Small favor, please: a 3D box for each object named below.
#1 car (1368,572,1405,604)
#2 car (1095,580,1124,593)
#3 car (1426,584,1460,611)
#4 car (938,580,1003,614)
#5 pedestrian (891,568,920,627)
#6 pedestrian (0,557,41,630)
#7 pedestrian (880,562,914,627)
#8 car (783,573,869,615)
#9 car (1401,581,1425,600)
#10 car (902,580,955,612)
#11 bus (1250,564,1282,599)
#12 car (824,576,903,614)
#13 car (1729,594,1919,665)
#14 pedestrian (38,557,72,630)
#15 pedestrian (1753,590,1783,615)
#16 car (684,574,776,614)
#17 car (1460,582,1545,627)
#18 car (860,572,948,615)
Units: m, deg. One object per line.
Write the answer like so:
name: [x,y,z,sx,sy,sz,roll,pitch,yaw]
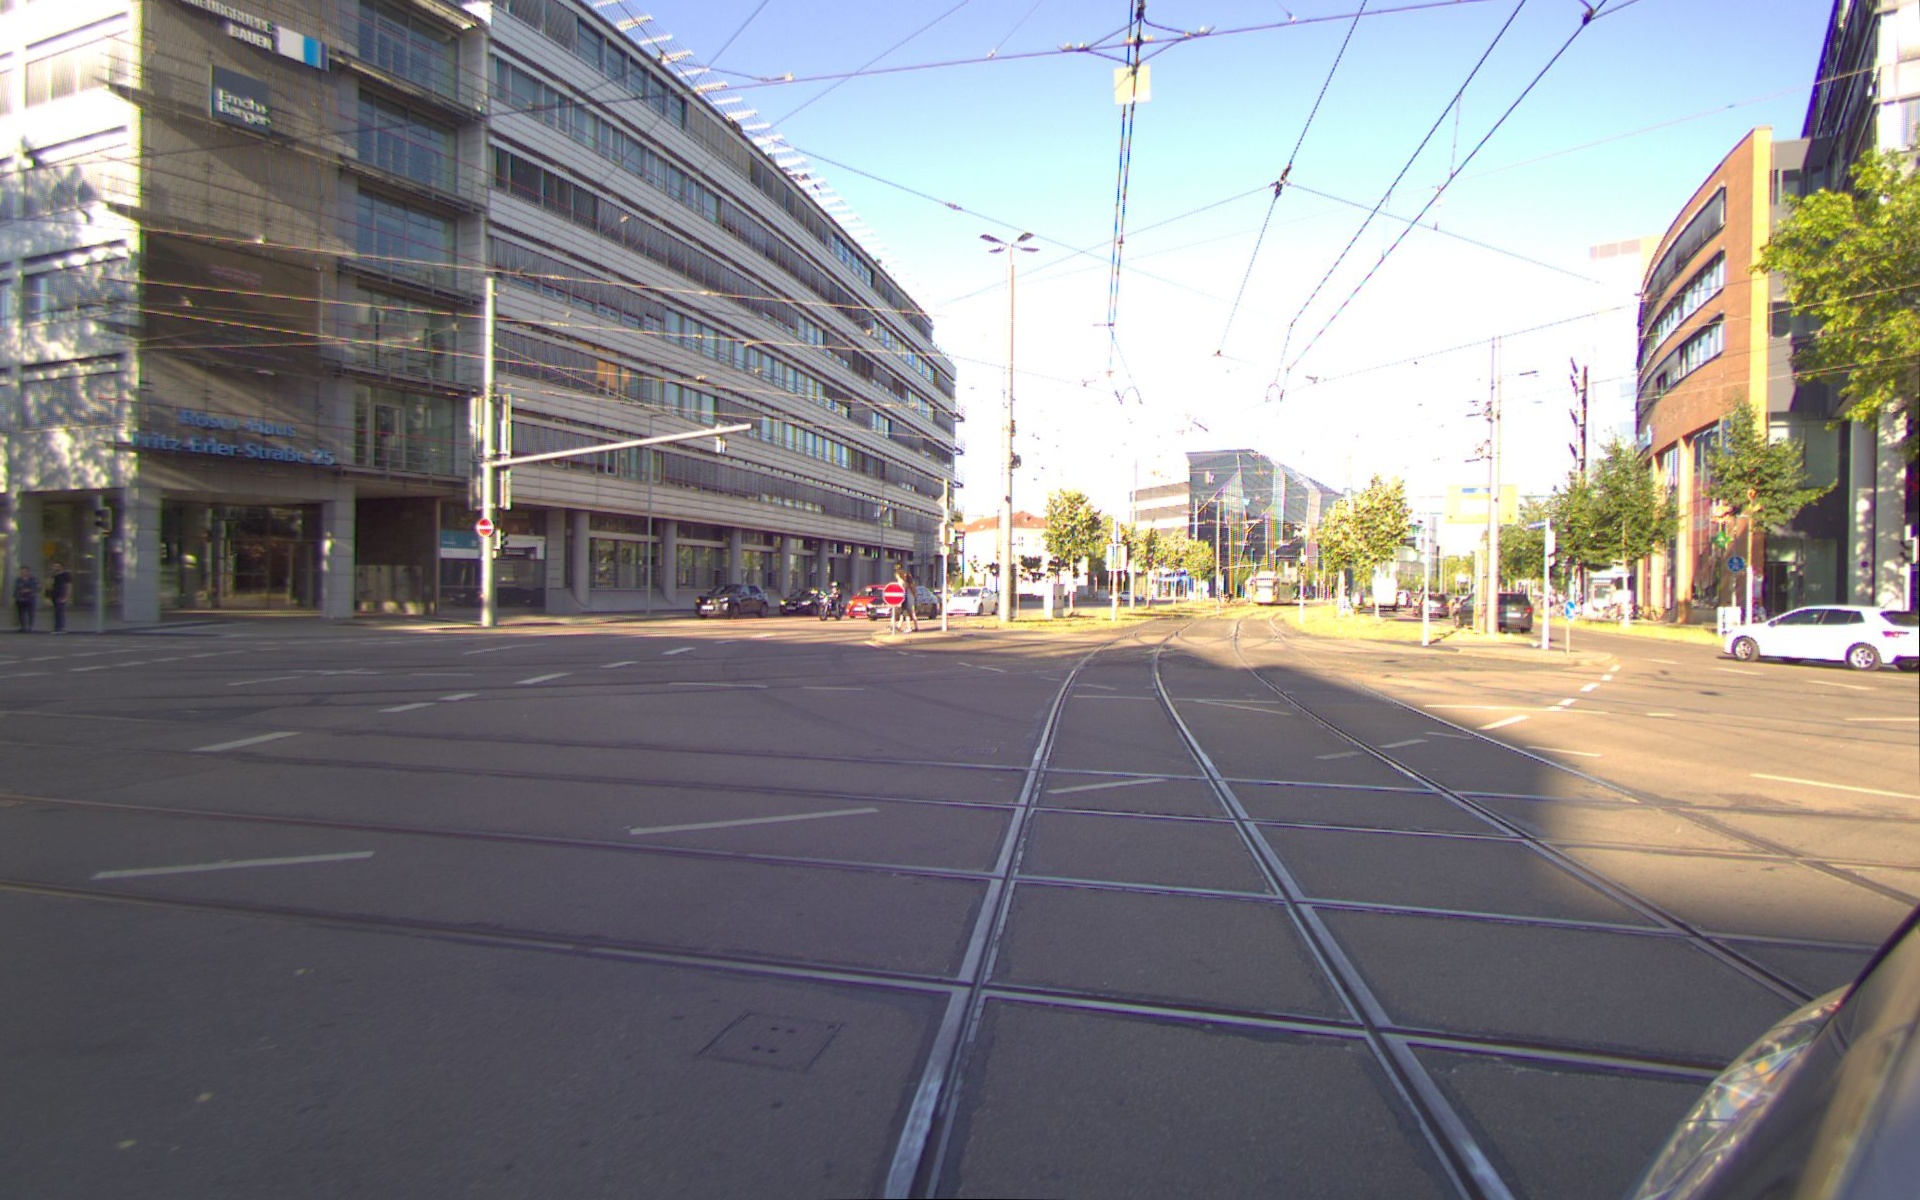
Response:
car: [34.646,-0.957,82.368,1.972,2.512,5.945,1,0,15]
car: [22.074,-1.953,149.978,3.923,1.883,2.001,1,1,-1]
car: [30.632,-0.163,64.238,1.846,1.653,4.225,1,0,26]
car: [0.575,-0.148,50.861,1.883,1.642,4.139,1,0,22]
pedestrian: [-1.608,-0.090,30.031,0.830,1.709,0.648,1,1,-1]
pedestrian: [-23.985,-0.176,25.822,0.577,1.846,0.545,1,1,-5]
pedestrian: [-1.814,-0.162,29.325,0.948,1.865,0.699,1,1,-3]
car: [-5.505,-0.254,42.097,1.883,1.642,3.836,1,0,22]
car: [48.074,-1.023,107.337,1.602,2.039,3.837,1,1,35]
car: [-1.607,-0.238,53.587,1.607,1.616,3.977,0,1,18]
bus: [32.121,-1.900,106.567,2.686,3.451,9.626,1,0,14]
car: [-4.371,-0.217,46.295,1.883,1.642,4.139,1,0,22]
car: [20.494,0.616,23.532,1.601,1.470,4.008,1,0,-16]
pedestrian: [-23.190,-0.170,25.926,0.536,1.846,0.374,1,1,-5]
pedestrian: [36.357,0.110,45.549,0.763,1.094,0.680,1,1,6]
car: [-9.952,-0.256,44.059,1.883,1.642,4.139,1,0,22]
car: [21.454,0.166,40.210,1.592,1.623,4.165,3,1,9]
car: [-2.230,-0.246,41.728,1.883,1.642,4.489,1,0,22]
